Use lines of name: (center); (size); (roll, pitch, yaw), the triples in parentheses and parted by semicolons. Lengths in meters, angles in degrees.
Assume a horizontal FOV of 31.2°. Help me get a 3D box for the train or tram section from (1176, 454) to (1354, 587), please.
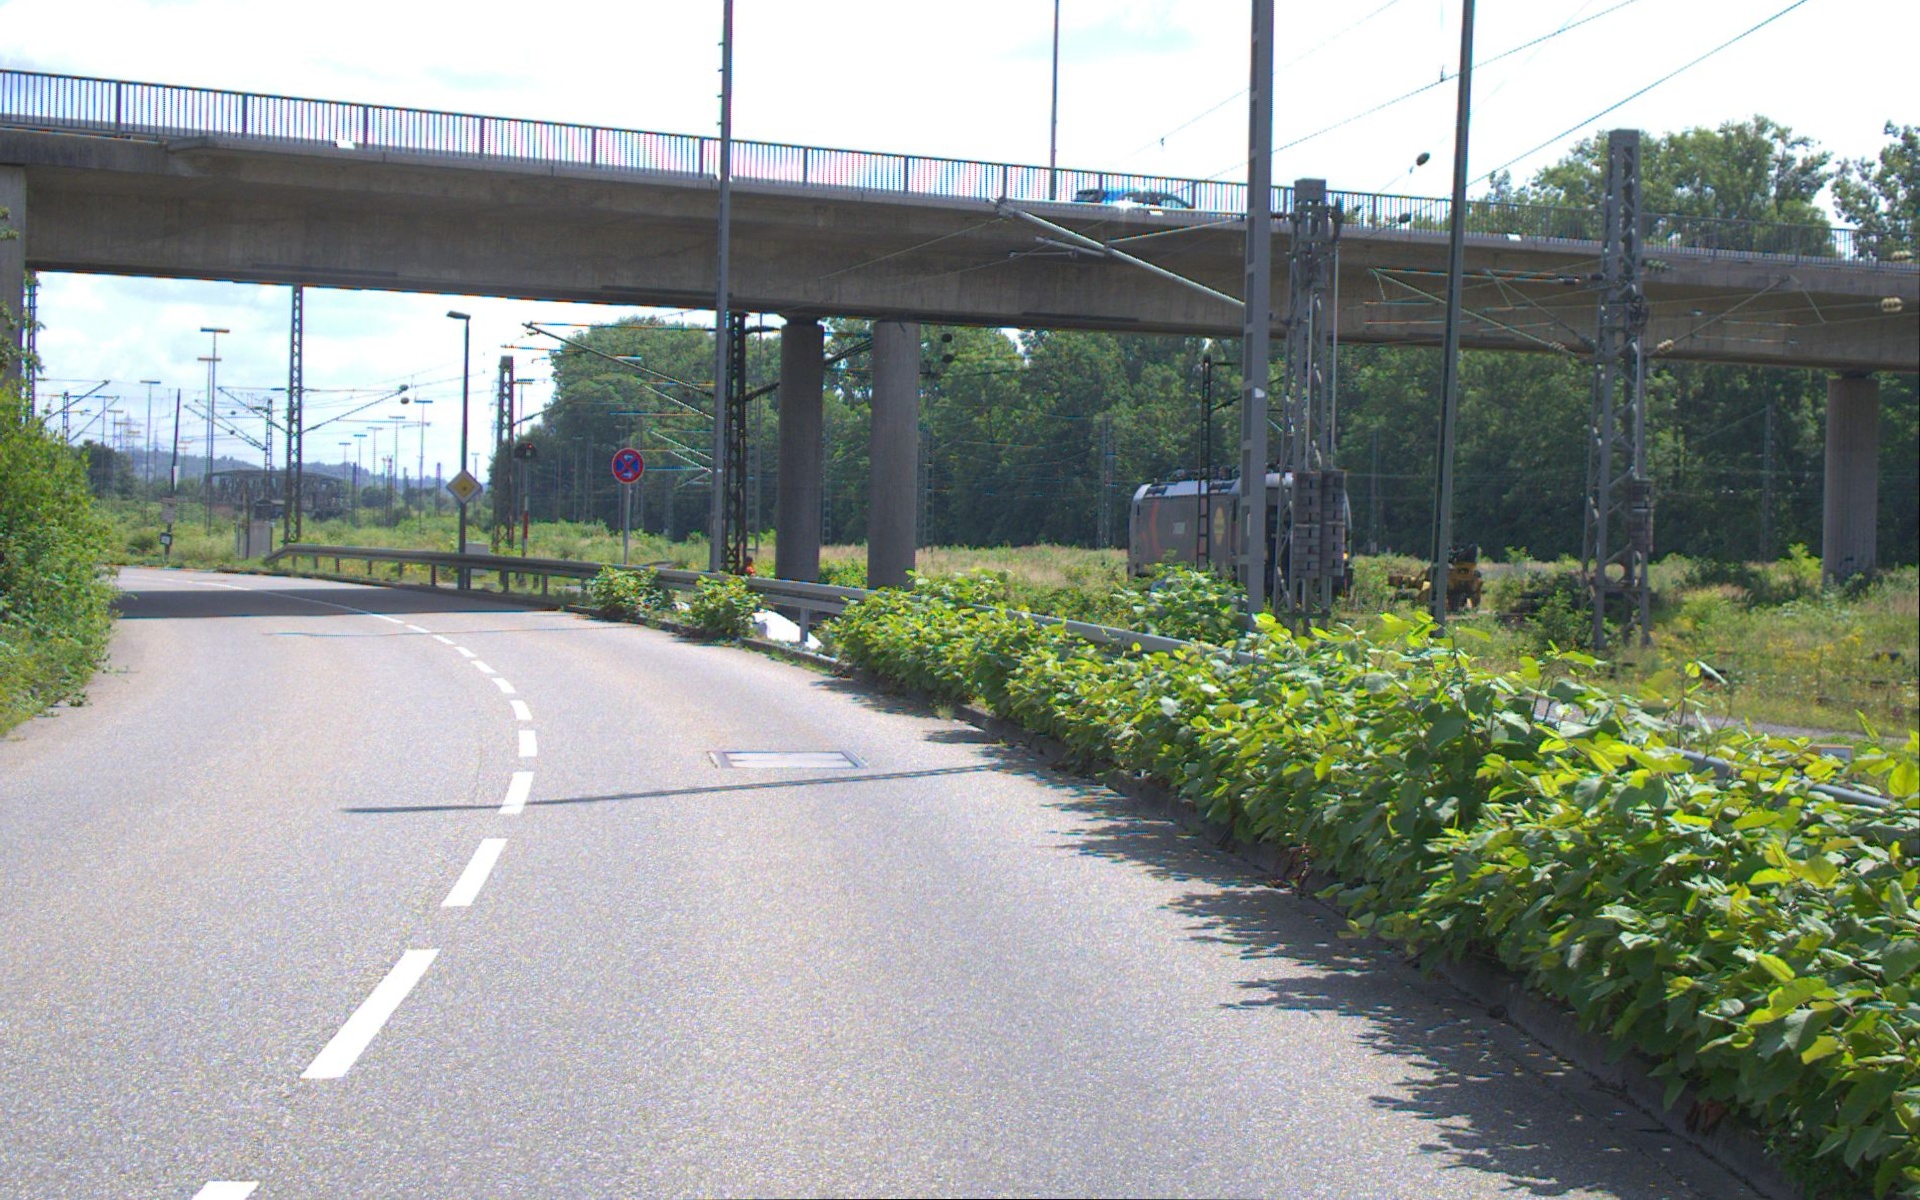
train or tram section: (8.425, -2.176, 96.088); (2.889, 3.497, 8.567); (1, 1, -9)

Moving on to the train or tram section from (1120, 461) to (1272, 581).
train or tram section: (7.096, -2.356, 104.451); (2.755, 3.465, 8.241); (1, 1, -9)

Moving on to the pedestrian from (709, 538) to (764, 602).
pedestrian: (-5.463, -0.735, 83.875); (1.110, 1.534, 1.580); (1, 1, -12)
